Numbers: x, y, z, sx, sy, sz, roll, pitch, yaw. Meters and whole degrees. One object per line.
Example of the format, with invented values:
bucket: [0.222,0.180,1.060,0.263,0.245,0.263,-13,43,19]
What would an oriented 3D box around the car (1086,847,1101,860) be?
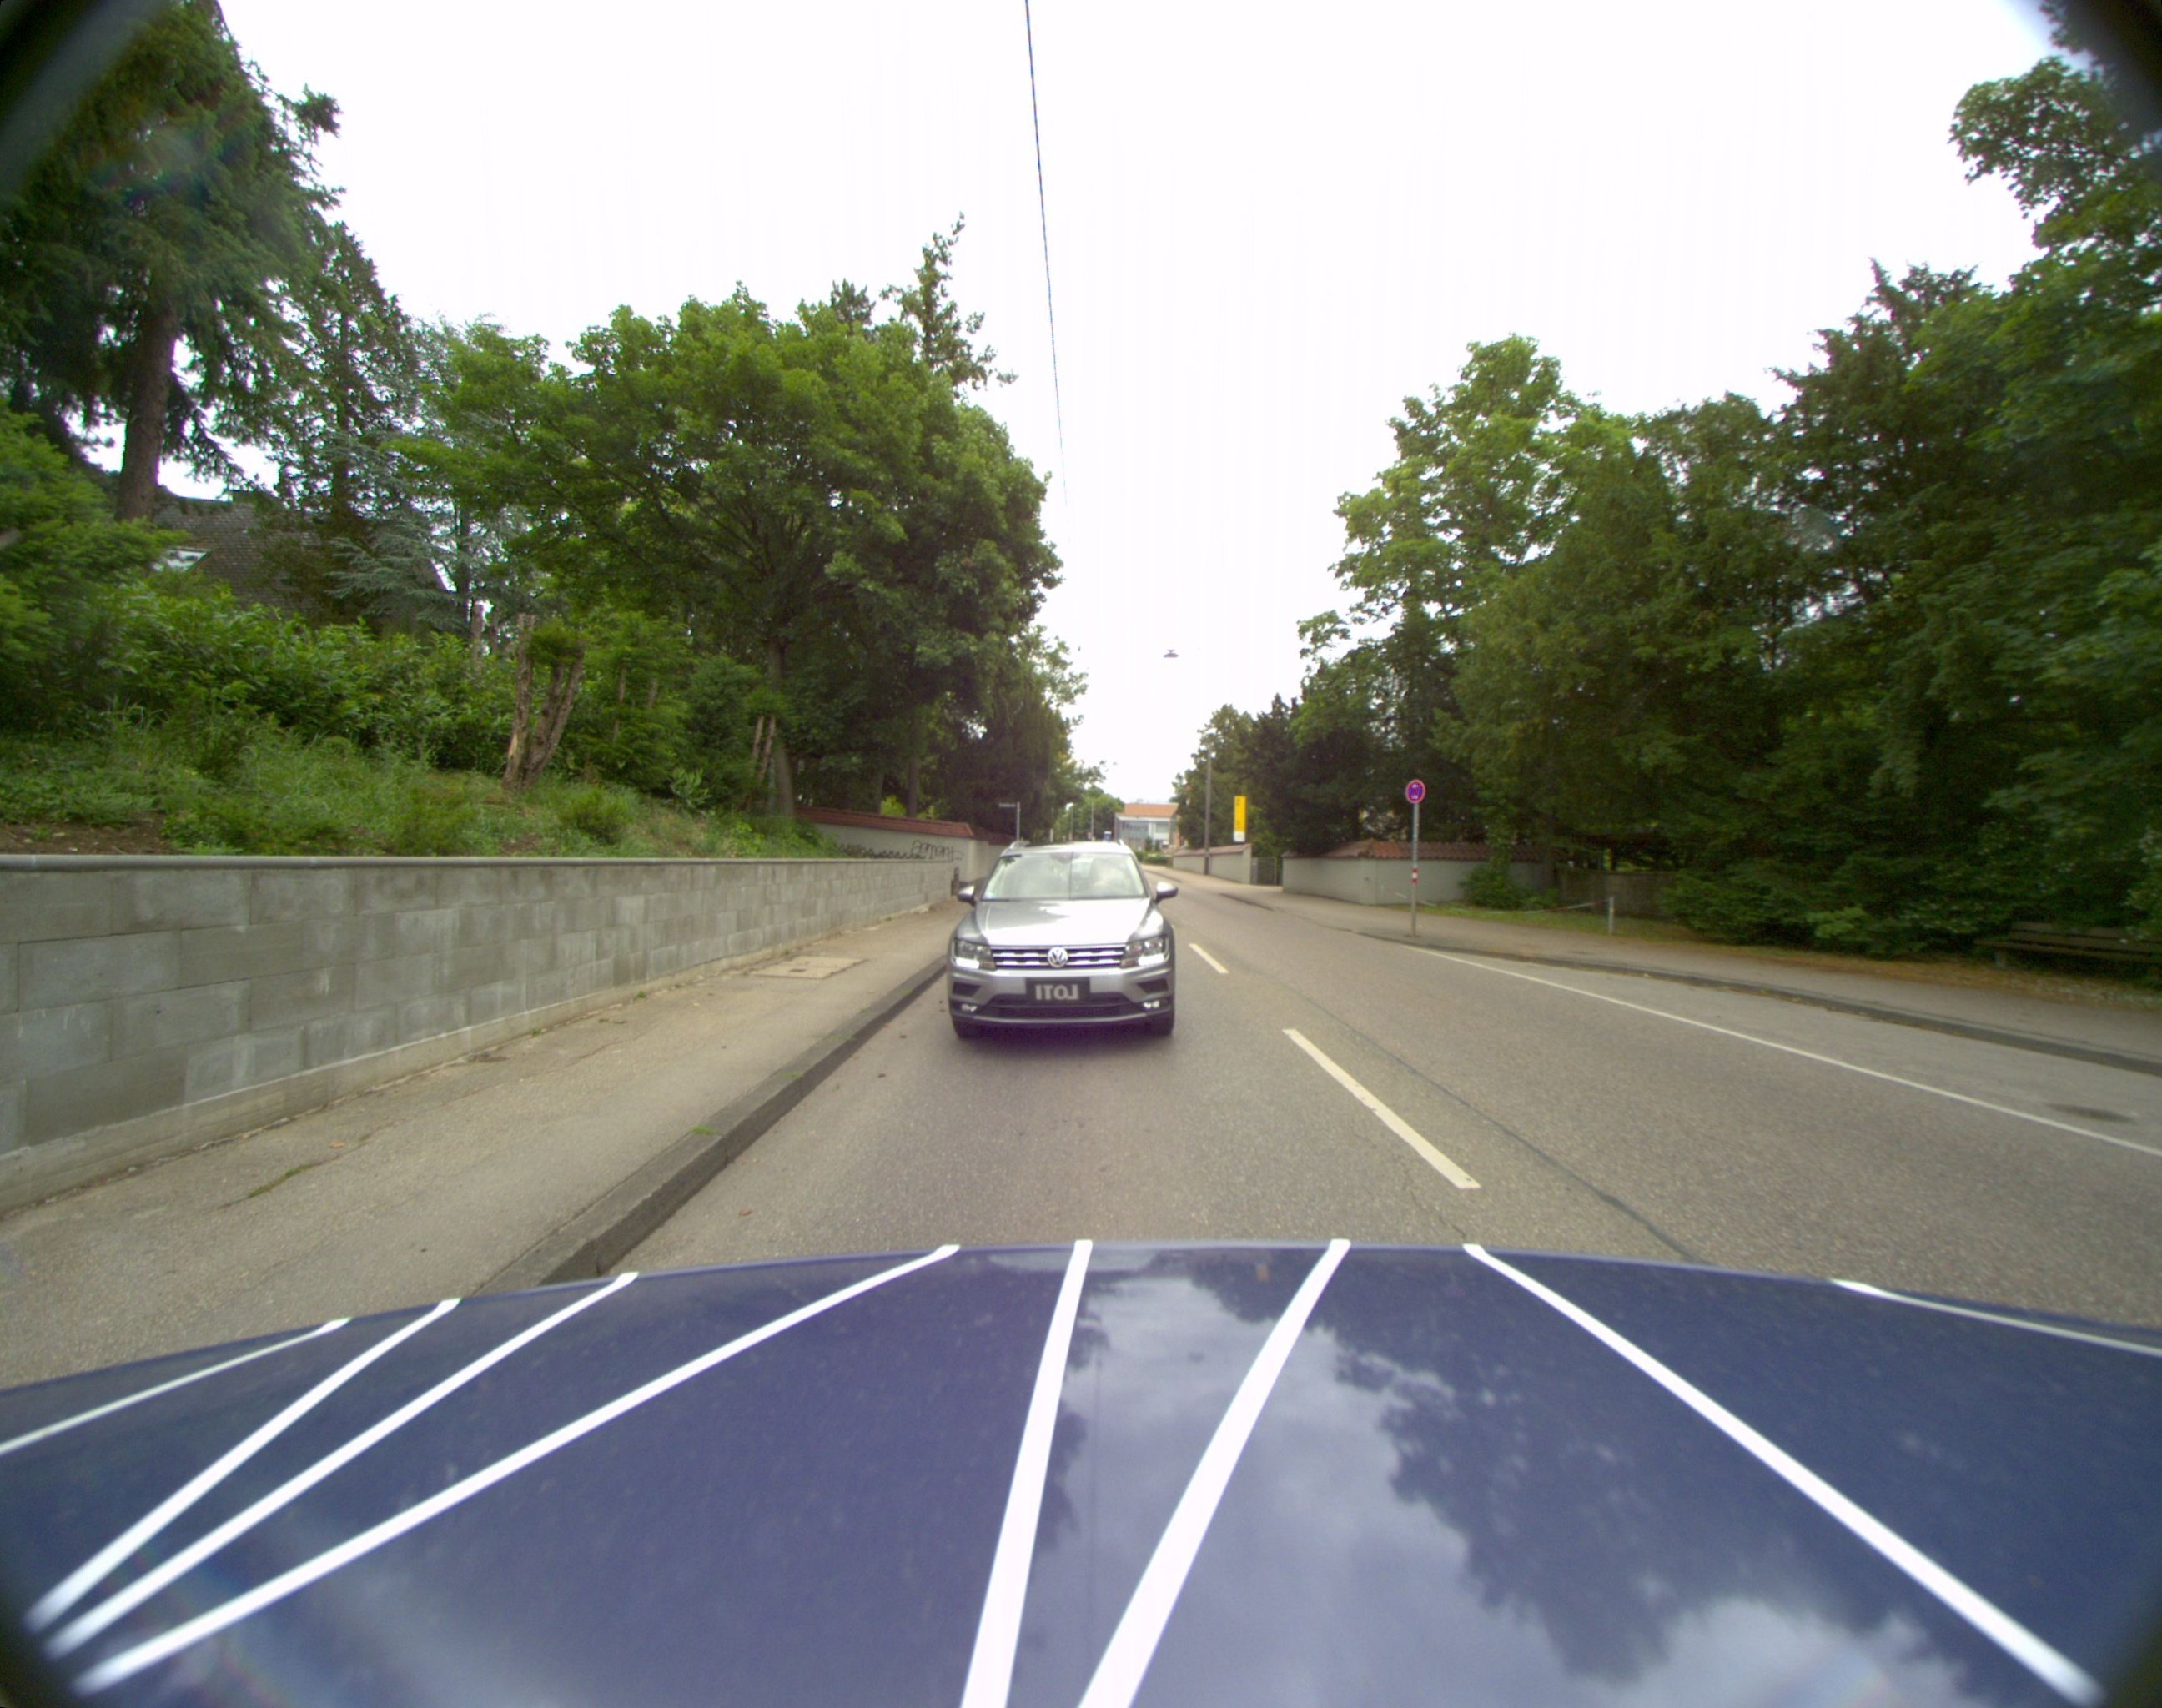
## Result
car: [1.590,-0.127,99.672,1.877,1.647,4.255,0,1,0]

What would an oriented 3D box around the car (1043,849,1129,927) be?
car: [0.116,0.704,18.461,1.820,1.647,4.487,0,1,0]

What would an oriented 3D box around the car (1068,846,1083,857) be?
car: [-0.899,-0.375,120.808,1.878,1.647,4.252,0,1,-8]

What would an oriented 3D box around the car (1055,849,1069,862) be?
car: [-2.534,0.174,104.148,1.820,1.733,4.487,0,1,0]

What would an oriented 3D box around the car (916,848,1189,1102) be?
car: [-0.179,0.812,7.523,1.820,1.690,4.718,-1,0,0]
